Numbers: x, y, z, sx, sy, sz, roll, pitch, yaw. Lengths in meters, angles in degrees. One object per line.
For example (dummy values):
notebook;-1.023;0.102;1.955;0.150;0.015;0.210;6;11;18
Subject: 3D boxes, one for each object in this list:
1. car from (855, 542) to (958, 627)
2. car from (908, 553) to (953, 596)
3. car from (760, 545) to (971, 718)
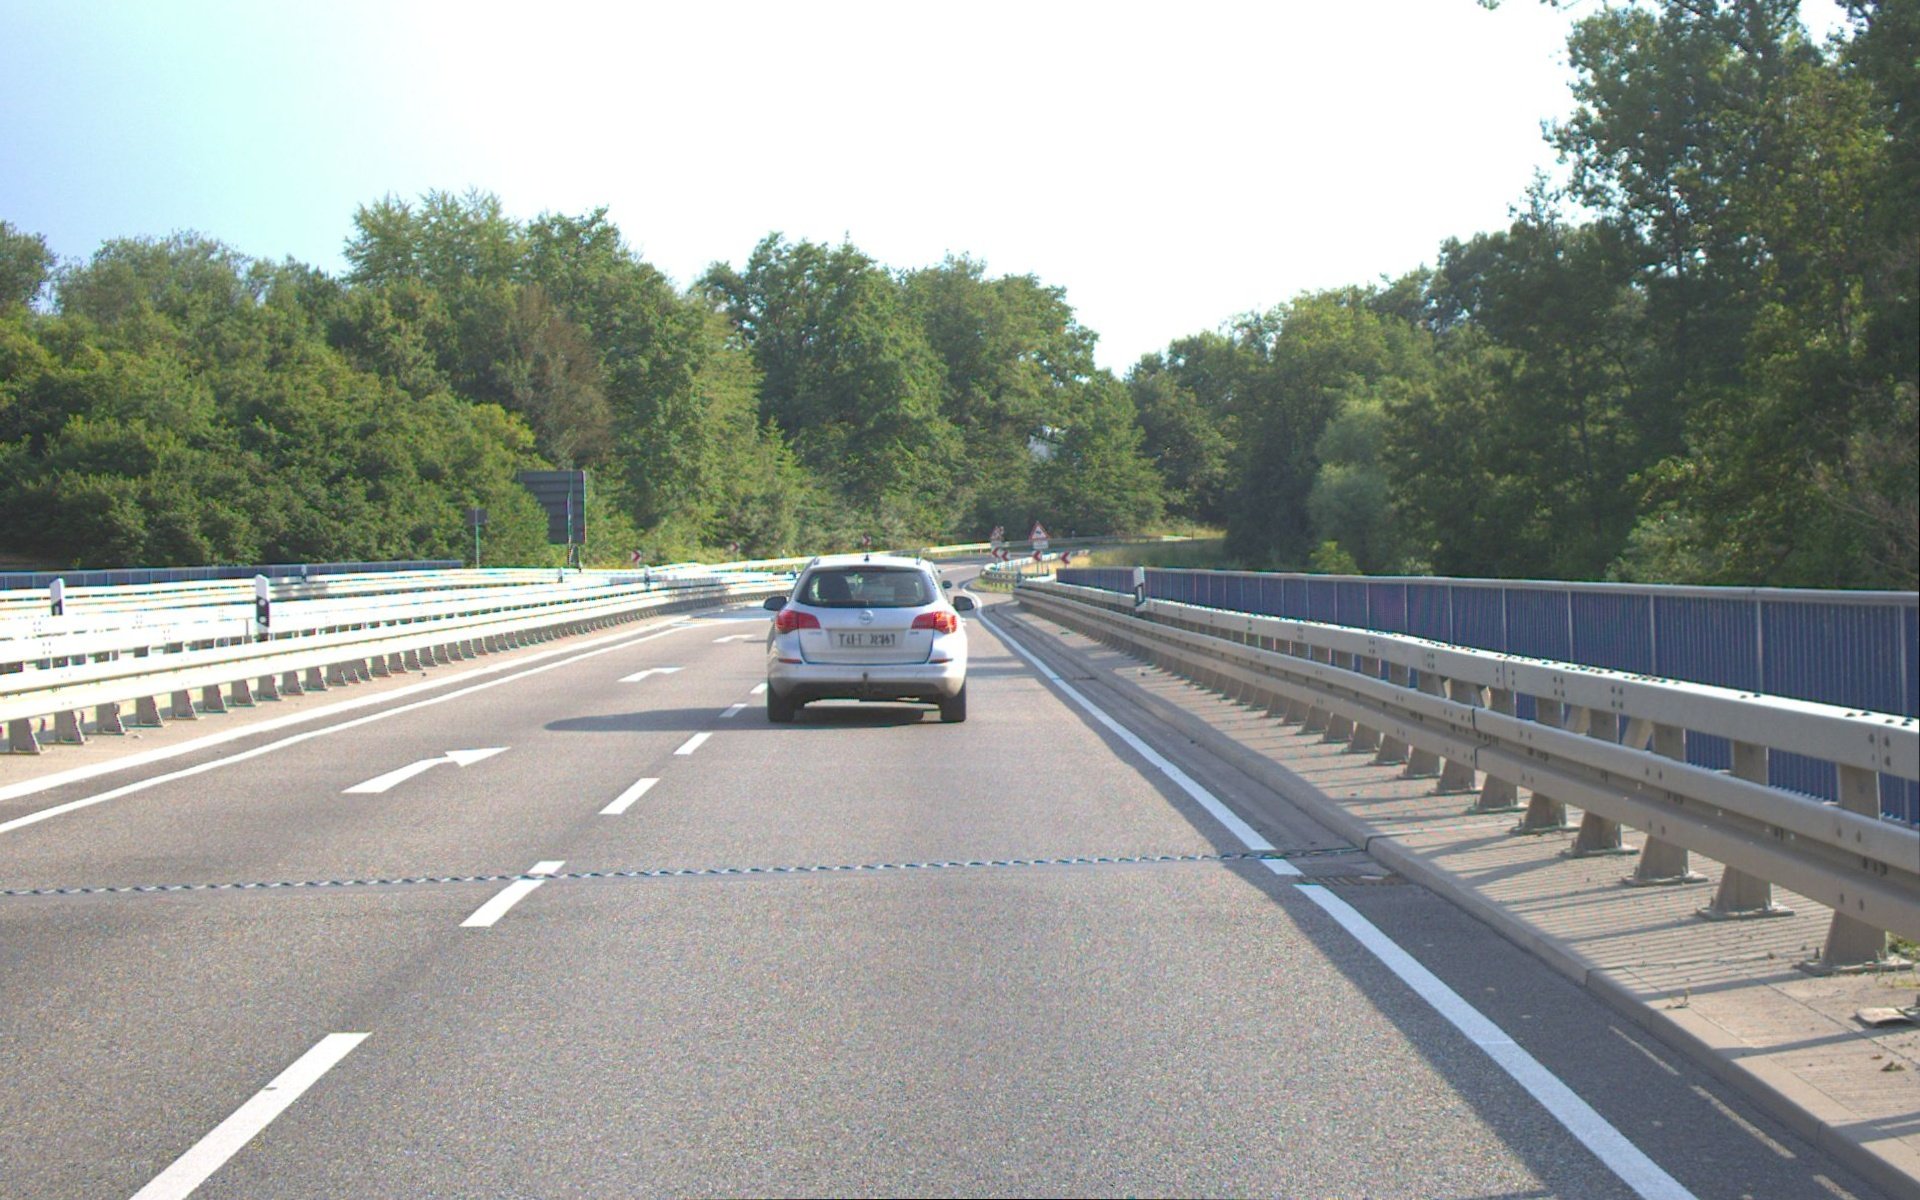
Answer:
car;-0.989;-0.276;62.765;1.809;1.481;4.000;1;0;-1
car;-1.412;-1.214;164.974;1.993;2.007;4.000;1;0;2
car;-0.864;0.264;31.691;1.809;1.481;4.000;1;0;-1
